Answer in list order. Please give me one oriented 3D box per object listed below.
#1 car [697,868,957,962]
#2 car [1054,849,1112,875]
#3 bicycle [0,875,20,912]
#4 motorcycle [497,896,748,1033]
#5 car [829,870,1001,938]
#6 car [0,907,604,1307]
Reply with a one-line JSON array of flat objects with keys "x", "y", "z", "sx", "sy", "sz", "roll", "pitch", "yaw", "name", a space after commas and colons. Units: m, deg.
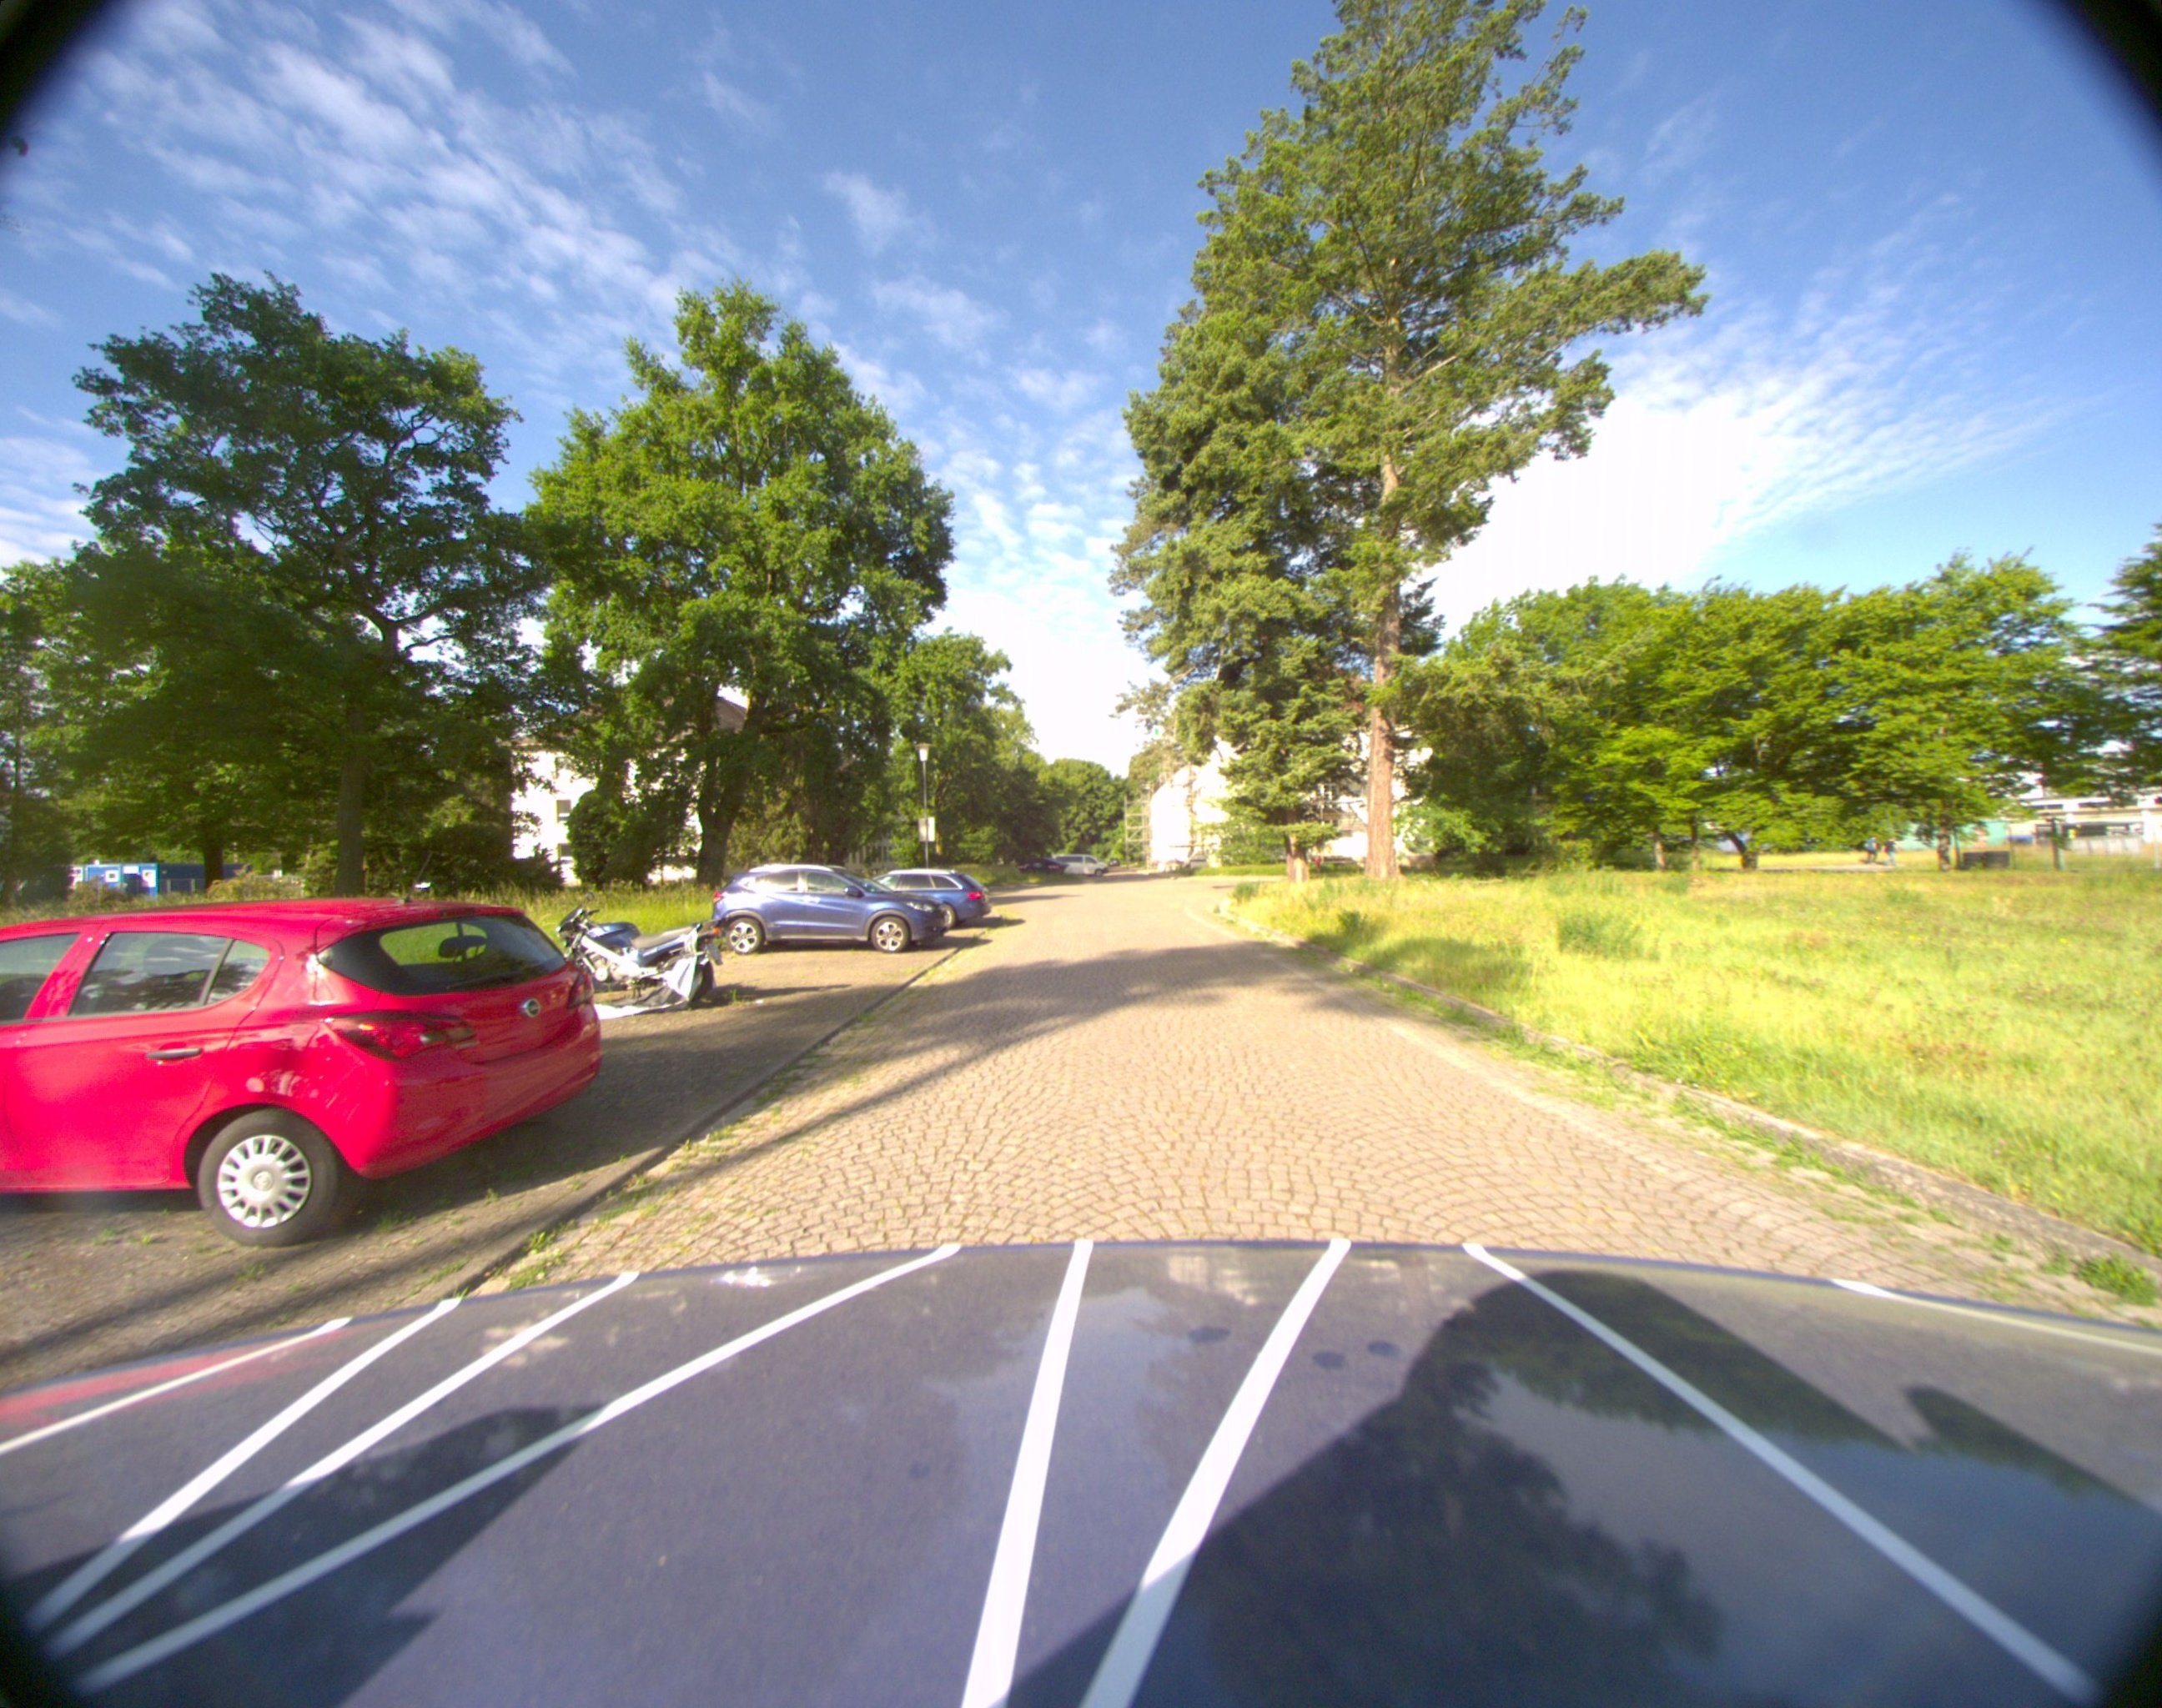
[{"x": -4.600, "y": 1.092, "z": 14.179, "sx": 4.273, "sy": 1.589, "sz": 1.651, "roll": 0, "pitch": 0, "yaw": 0, "name": "car"}, {"x": 0.165, "y": 0.730, "z": 67.540, "sx": 4.993, "sy": 2.123, "sz": 2.164, "roll": -2, "pitch": 0, "yaw": -1, "name": "car"}, {"x": -59.602, "y": 2.209, "z": 40.731, "sx": 0.953, "sy": 2.002, "sz": 3.129, "roll": -2, "pitch": 2, "yaw": 0, "name": "bicycle"}, {"x": -5.044, "y": 1.194, "z": 8.470, "sx": 2.235, "sy": 1.345, "sz": 0.879, "roll": -2, "pitch": 0, "yaw": 3, "name": "motorcycle"}, {"x": -4.030, "y": 1.203, "z": 18.898, "sx": 3.809, "sy": 1.458, "sz": 1.747, "roll": -2, "pitch": 0, "yaw": 2, "name": "car"}, {"x": -4.956, "y": 1.142, "z": 3.893, "sx": 3.997, "sy": 1.486, "sz": 1.540, "roll": -2, "pitch": 0, "yaw": 0, "name": "car"}]
